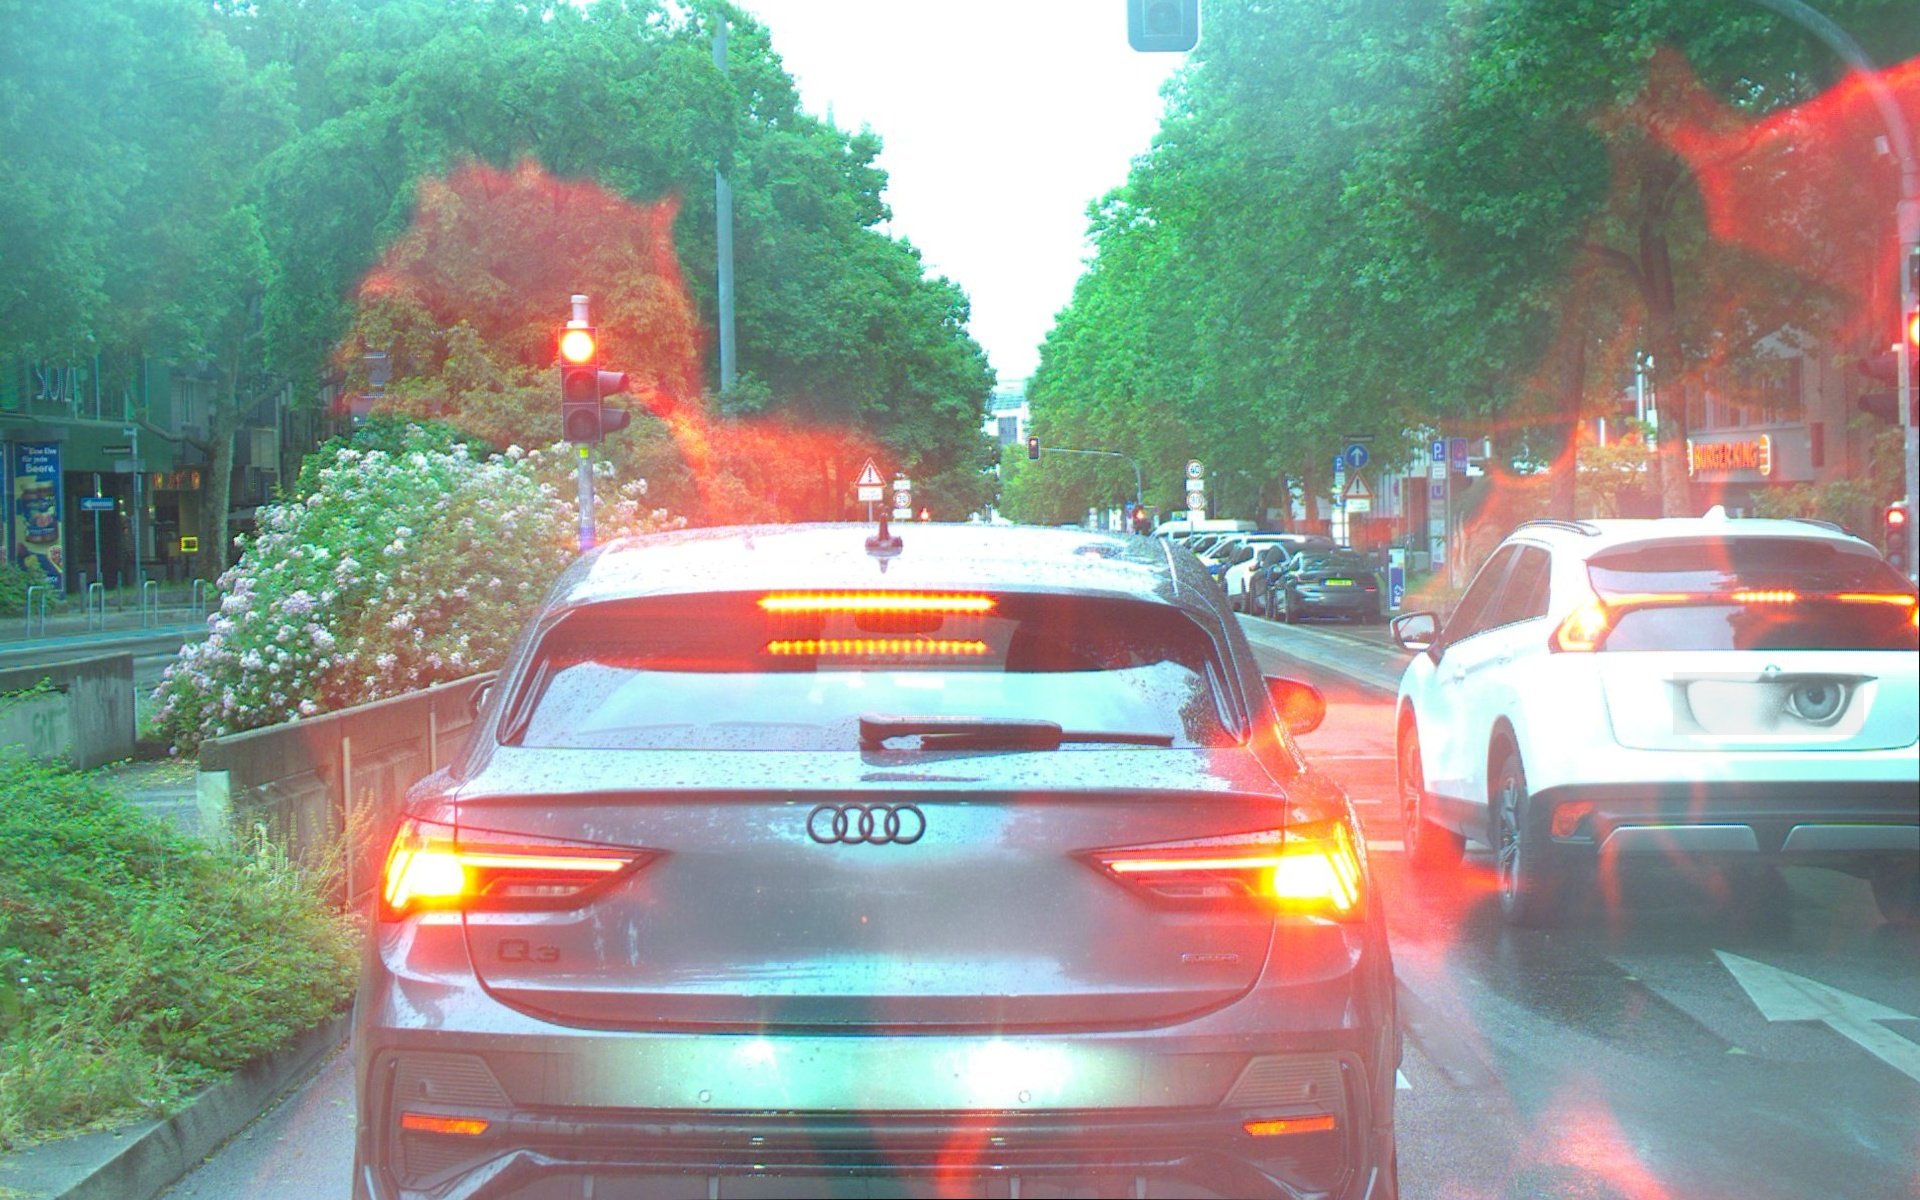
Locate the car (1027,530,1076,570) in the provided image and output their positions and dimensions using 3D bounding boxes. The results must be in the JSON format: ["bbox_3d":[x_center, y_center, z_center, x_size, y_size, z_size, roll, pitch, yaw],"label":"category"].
[{"bbox_3d":[3.905,-2.139,146.546,1.993,1.645,4.000,1,0,1],"label":"car"}]

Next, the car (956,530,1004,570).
[{"bbox_3d":[0.818,-2.047,140.827,1.896,1.593,3.939,1,0,-1],"label":"car"}]

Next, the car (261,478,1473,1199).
[{"bbox_3d":[-0.165,0.582,7.255,1.849,1.596,4.000,0,1,-1],"label":"car"}]

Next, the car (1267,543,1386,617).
[{"bbox_3d":[7.263,-0.412,68.537,1.873,1.416,4.611,1,1,0],"label":"car"}]

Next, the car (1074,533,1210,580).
[{"bbox_3d":[6.783,-1.614,128.187,4.646,1.700,1.997,1,0,28],"label":"car"}]

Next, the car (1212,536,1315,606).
[{"bbox_3d":[6.977,-0.668,79.328,1.727,1.566,4.074,1,0,-4],"label":"car"}]

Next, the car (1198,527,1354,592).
[{"bbox_3d":[10.011,-1.292,109.081,4.602,2.007,1.964,1,0,39],"label":"car"}]

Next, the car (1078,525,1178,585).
[{"bbox_3d":[4.982,-1.332,102.315,1.993,1.721,4.001,1,0,-12],"label":"car"}]

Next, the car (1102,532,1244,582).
[{"bbox_3d":[7.615,-1.547,123.158,4.646,1.700,1.997,1,0,28],"label":"car"}]

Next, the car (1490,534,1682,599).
[{"bbox_3d":[10.646,-0.574,58.492,2.889,1.071,1.453,1,0,32],"label":"car"}]

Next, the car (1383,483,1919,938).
[{"bbox_3d":[3.031,0.406,14.967,1.878,1.691,4.000,1,0,0],"label":"car"}]
